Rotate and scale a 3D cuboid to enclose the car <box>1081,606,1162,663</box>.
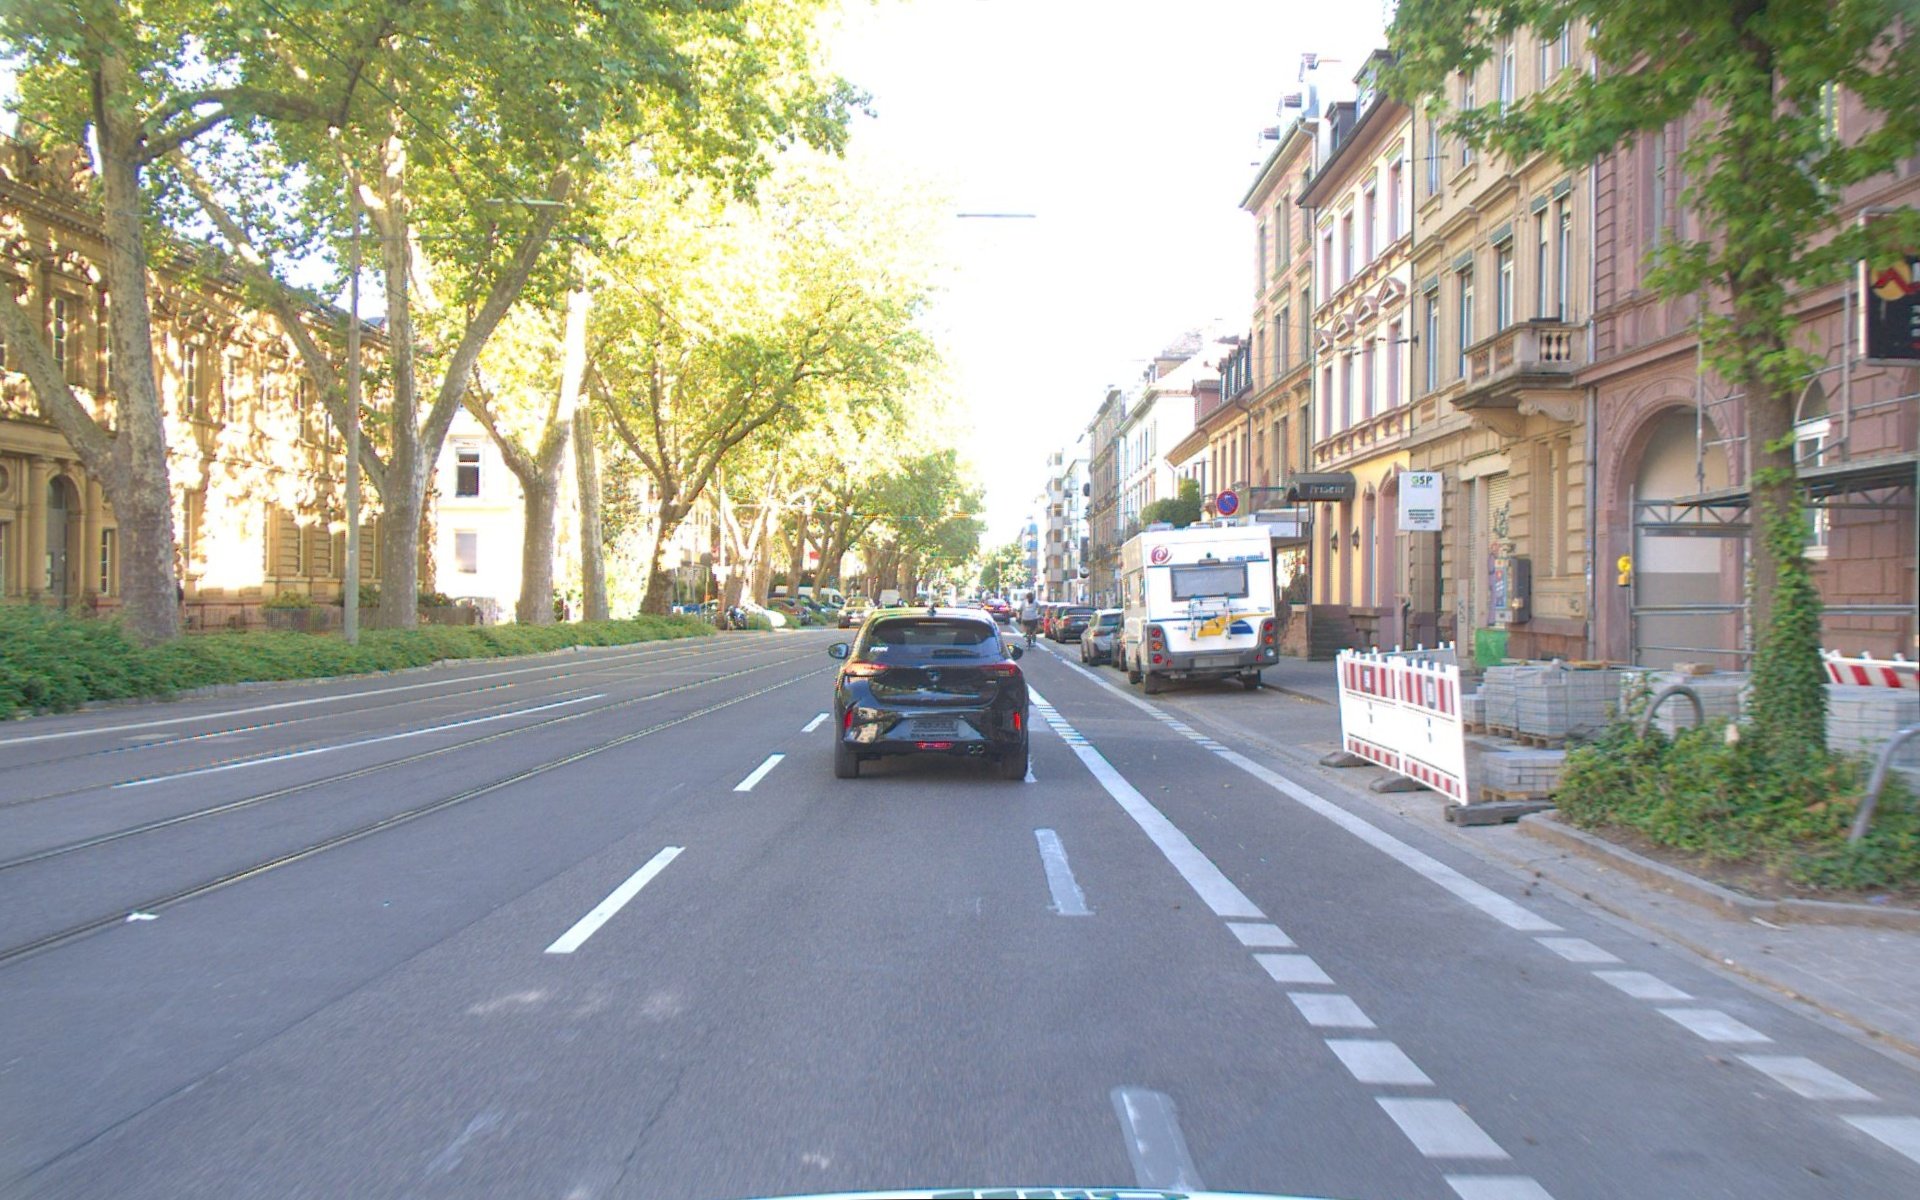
[{"bbox_3d":[4.329,0.908,45.005,1.772,1.460,4.665,-1,0,0],"label":"car"}]

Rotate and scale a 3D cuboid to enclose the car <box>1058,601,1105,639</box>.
[{"bbox_3d":[4.695,0.759,64.288,1.658,1.417,4.495,-1,0,2],"label":"car"}]

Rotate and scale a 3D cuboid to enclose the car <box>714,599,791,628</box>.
[{"bbox_3d":[-11.125,0.721,88.857,3.839,1.488,1.806,0,0,1],"label":"car"}]

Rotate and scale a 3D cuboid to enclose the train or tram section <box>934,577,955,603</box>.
[{"bbox_3d":[-2.273,-1.495,251.693,2.678,3.746,12.719,0,0,2],"label":"train or tram section"}]

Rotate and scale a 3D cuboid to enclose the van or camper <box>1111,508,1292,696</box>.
[{"bbox_3d":[4.398,0.048,31.569,2.426,3.024,7.886,-3,0,2],"label":"van or camper"}]

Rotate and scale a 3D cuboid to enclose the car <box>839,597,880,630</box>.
[{"bbox_3d":[-5.293,0.699,87.252,1.828,1.658,4.560,0,1,0],"label":"car"}]

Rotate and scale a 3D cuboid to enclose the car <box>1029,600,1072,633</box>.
[{"bbox_3d":[4.778,0.870,87.531,1.842,1.613,3.931,-3,0,-2],"label":"car"}]

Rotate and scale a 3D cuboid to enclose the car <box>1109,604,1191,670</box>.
[{"bbox_3d":[4.567,0.861,40.209,1.611,1.459,4.030,-3,0,2],"label":"car"}]

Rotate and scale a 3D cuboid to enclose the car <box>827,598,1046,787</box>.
[{"bbox_3d":[-0.171,0.751,15.210,1.757,1.466,3.531,1,1,0],"label":"car"}]

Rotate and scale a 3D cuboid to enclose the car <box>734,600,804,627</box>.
[{"bbox_3d":[-11.243,0.799,97.412,3.839,1.467,1.749,2,0,1],"label":"car"}]

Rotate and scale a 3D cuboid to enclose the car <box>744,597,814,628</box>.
[{"bbox_3d":[-10.886,0.747,99.608,3.912,1.655,1.879,2,-1,0],"label":"car"}]

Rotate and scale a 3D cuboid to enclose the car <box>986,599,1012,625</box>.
[{"bbox_3d":[2.765,0.811,116.296,1.772,1.773,3.934,0,0,2],"label":"car"}]

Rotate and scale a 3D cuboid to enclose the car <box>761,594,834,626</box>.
[{"bbox_3d":[-10.917,0.656,111.461,4.578,1.957,1.980,2,-1,2],"label":"car"}]

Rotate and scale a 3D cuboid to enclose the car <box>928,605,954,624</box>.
[{"bbox_3d":[-1.362,1.040,119.126,1.773,1.362,3.932,1,0,0],"label":"car"}]

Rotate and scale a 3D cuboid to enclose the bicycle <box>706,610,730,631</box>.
[{"bbox_3d":[-11.369,0.943,77.641,0.529,0.957,2.035,1,0,8],"label":"bicycle"}]

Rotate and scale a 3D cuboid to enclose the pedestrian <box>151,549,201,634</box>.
[{"bbox_3d":[-17.717,-0.188,37.392,0.704,1.882,0.837,1,0,-1],"label":"pedestrian"}]

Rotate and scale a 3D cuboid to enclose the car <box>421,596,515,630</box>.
[{"bbox_3d":[-22.404,0.593,75.400,3.698,1.443,1.695,0,3,1],"label":"car"}]

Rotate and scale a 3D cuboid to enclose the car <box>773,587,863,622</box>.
[{"bbox_3d":[-10.831,0.337,126.590,6.491,2.451,2.458,2,-1,1],"label":"car"}]

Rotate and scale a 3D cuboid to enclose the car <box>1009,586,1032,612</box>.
[{"bbox_3d":[5.628,-0.077,154.247,2.032,2.258,4.934,-3,0,2],"label":"car"}]

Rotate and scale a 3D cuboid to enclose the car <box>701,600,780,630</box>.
[{"bbox_3d":[-11.383,0.783,85.963,3.840,1.478,1.800,1,0,0],"label":"car"}]

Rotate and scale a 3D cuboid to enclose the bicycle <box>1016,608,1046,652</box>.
[{"bbox_3d":[2.333,0.975,54.797,0.843,1.431,2.524,1,0,0],"label":"bicycle"}]

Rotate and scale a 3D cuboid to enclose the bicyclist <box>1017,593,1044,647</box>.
[{"bbox_3d":[2.333,0.653,54.850,0.830,1.770,1.162,1,0,0],"label":"bicyclist"}]

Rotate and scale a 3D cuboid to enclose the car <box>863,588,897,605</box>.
[{"bbox_3d":[-9.084,-0.426,188.046,3.841,1.821,1.676,2,-1,-2],"label":"car"}]

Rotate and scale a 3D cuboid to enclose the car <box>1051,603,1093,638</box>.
[{"bbox_3d":[4.823,0.872,71.577,1.617,1.482,3.868,-1,0,1],"label":"car"}]

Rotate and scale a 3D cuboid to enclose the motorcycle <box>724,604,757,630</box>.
[{"bbox_3d":[-10.291,0.790,77.616,0.865,1.167,2.392,1,0,8],"label":"motorcycle"}]

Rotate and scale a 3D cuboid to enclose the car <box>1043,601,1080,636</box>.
[{"bbox_3d":[4.648,0.842,76.202,1.600,1.574,3.576,-1,0,2],"label":"car"}]
